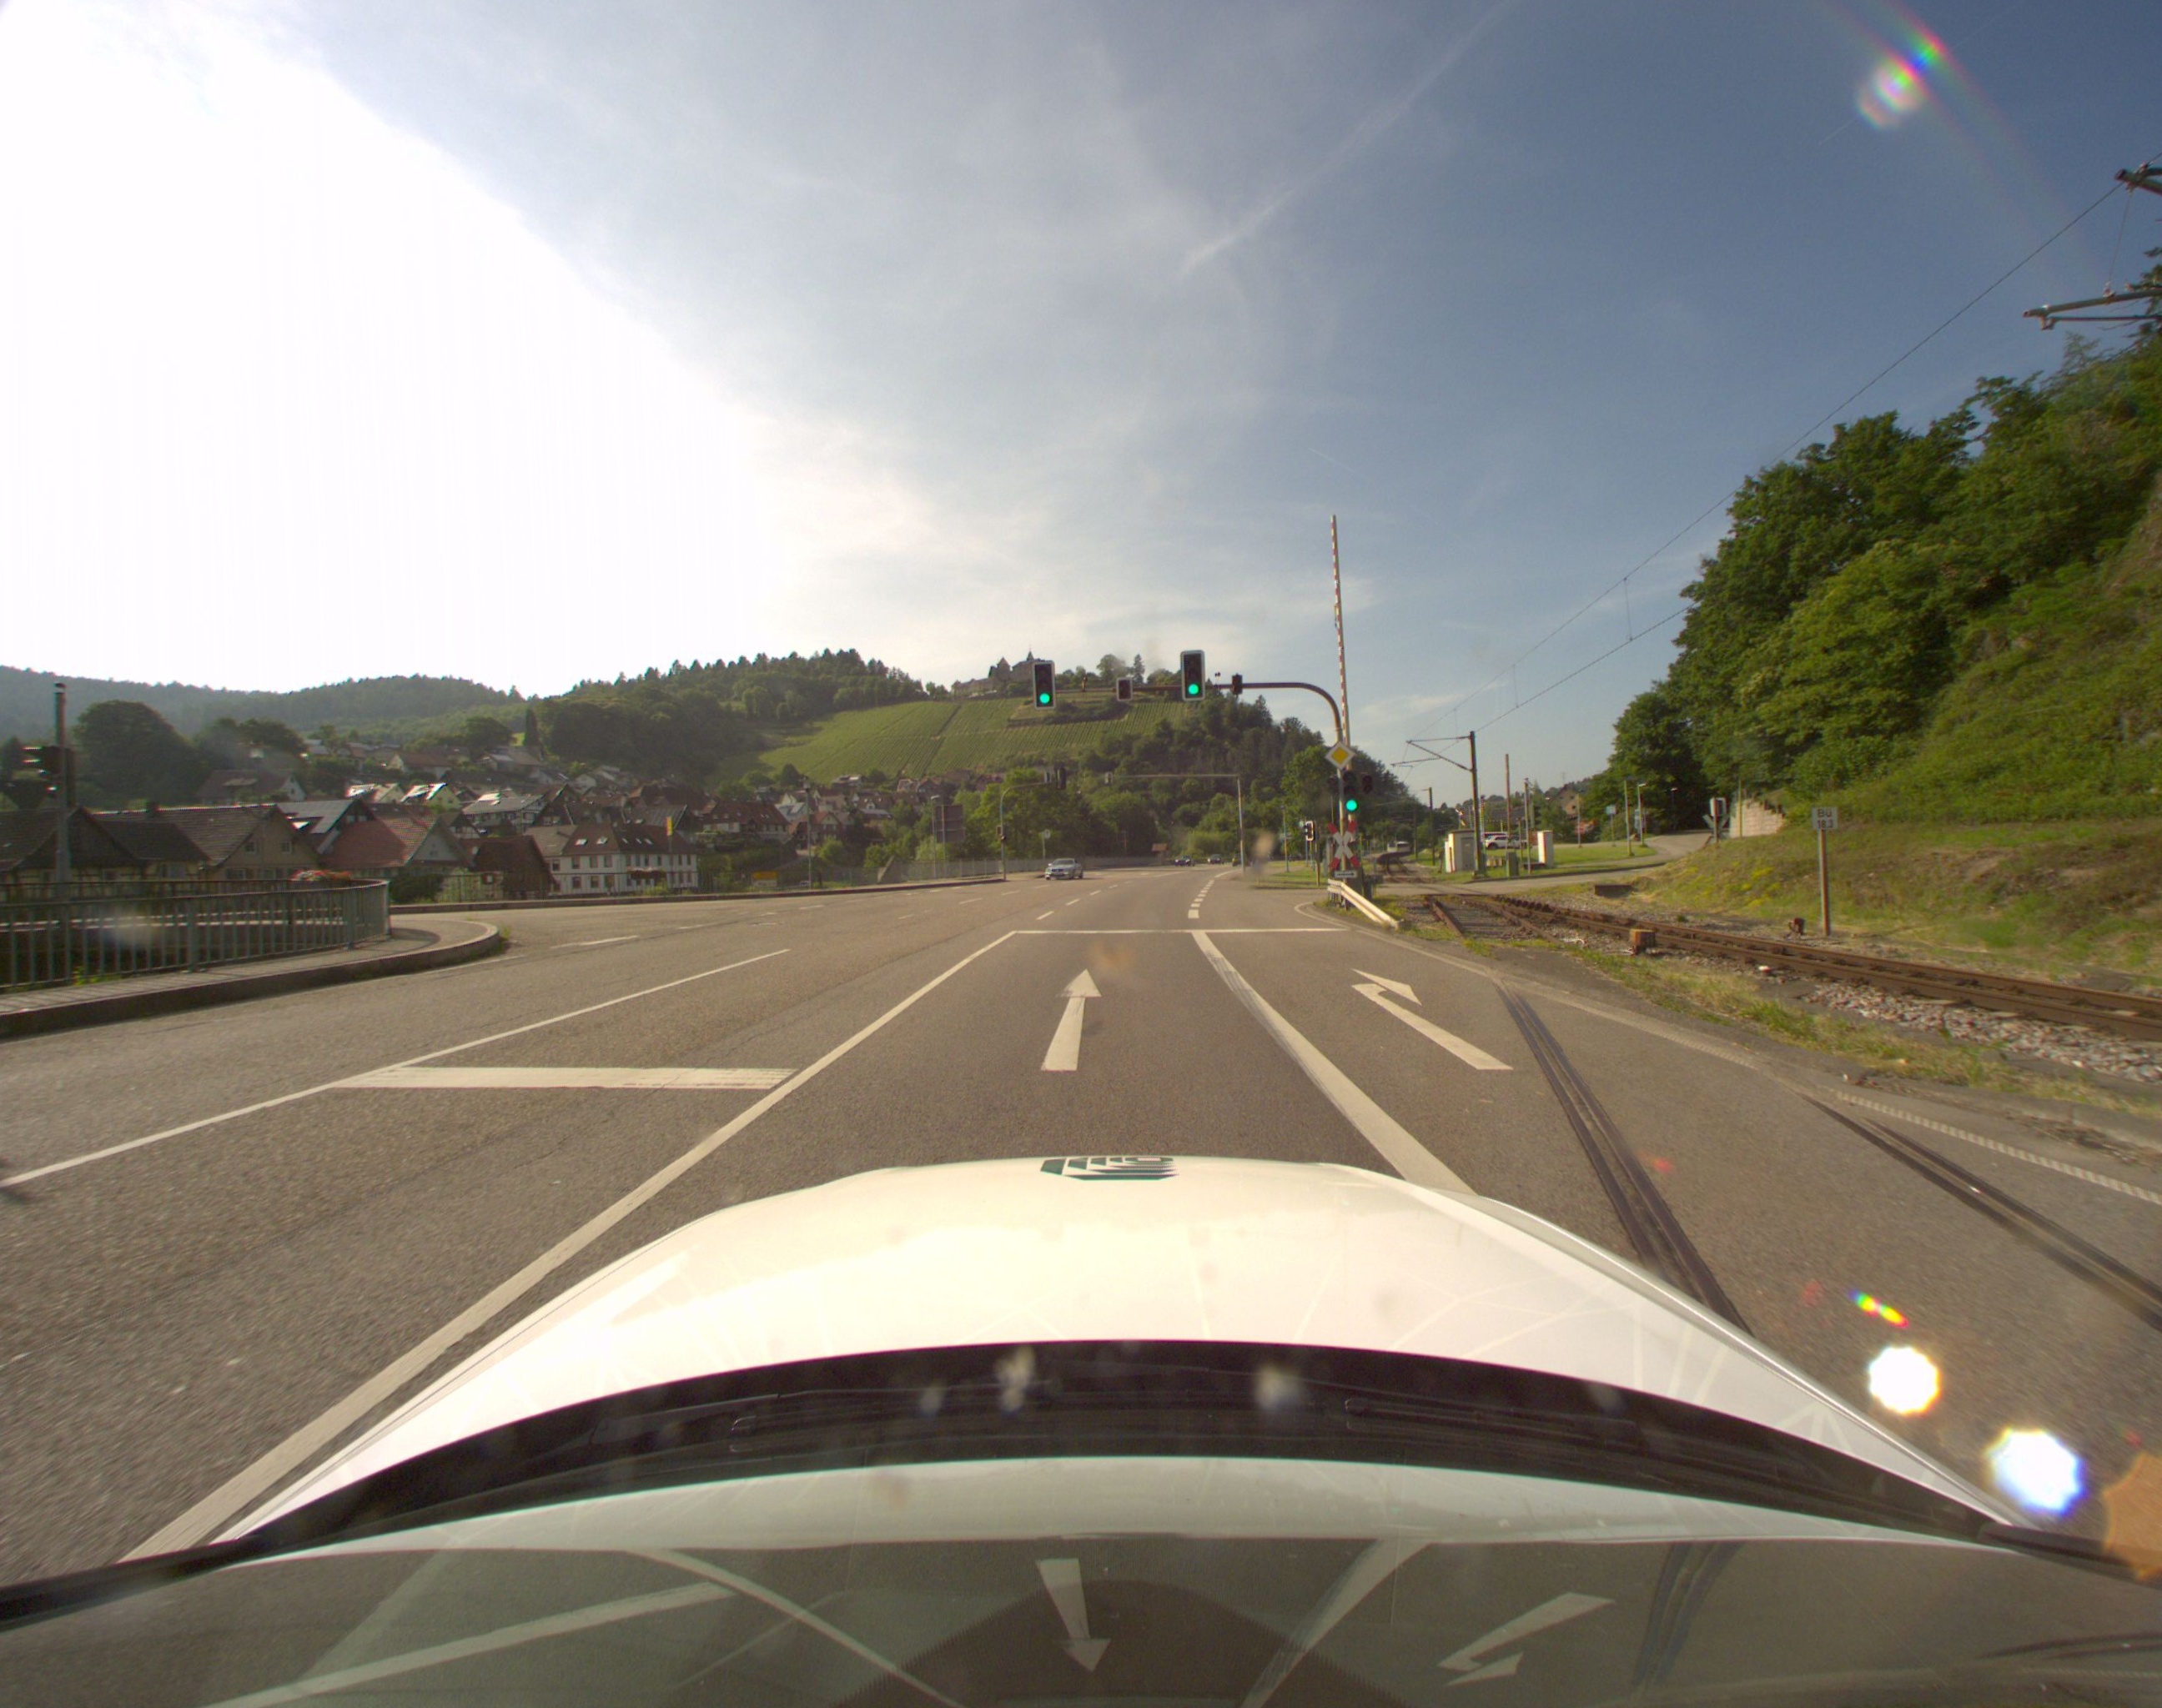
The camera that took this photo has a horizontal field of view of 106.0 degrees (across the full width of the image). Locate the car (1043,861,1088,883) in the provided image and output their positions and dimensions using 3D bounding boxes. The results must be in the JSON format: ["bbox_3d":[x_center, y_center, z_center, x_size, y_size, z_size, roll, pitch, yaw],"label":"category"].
[{"bbox_3d":[-0.904,1.098,50.049,1.633,1.231,4.110,-1,0,15],"label":"car"}]

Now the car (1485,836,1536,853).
[{"bbox_3d":[40.029,-0.845,75.990,4.061,1.398,1.819,-2,-1,21],"label":"car"}]

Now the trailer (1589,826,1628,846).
[{"bbox_3d":[64.752,-2.184,99.995,3.656,2.190,1.830,-4,-2,40],"label":"trailer"}]

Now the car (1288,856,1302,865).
[{"bbox_3d":[38.364,1.187,145.809,1.790,1.453,3.668,-4,-2,25],"label":"car"}]

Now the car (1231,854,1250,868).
[{"bbox_3d":[18.544,0.819,94.495,1.715,1.457,3.425,-4,-2,17],"label":"car"}]

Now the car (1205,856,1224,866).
[{"bbox_3d":[19.608,1.043,119.411,1.770,1.479,4.779,-2,-1,22],"label":"car"}]

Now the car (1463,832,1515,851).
[{"bbox_3d":[45.879,-1.395,91.692,4.908,1.943,2.152,-2,-1,21],"label":"car"}]

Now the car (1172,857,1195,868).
[{"bbox_3d":[12.849,1.029,101.696,1.756,1.377,4.668,0,0,21],"label":"car"}]

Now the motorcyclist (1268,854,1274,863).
[{"bbox_3d":[35.609,0.841,152.629,0.837,1.784,1.178,-1,-1,22],"label":"motorcyclist"}]

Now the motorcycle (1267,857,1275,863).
[{"bbox_3d":[35.625,1.125,152.665,0.964,1.221,2.586,-1,0,22],"label":"motorcycle"}]

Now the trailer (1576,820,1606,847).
[{"bbox_3d":[77.172,-3.082,123.191,2.581,3.894,7.781,-5,-2,40],"label":"trailer"}]

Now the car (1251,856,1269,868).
[{"bbox_3d":[24.974,1.127,113.840,1.824,1.459,3.732,-4,-2,21],"label":"car"}]
